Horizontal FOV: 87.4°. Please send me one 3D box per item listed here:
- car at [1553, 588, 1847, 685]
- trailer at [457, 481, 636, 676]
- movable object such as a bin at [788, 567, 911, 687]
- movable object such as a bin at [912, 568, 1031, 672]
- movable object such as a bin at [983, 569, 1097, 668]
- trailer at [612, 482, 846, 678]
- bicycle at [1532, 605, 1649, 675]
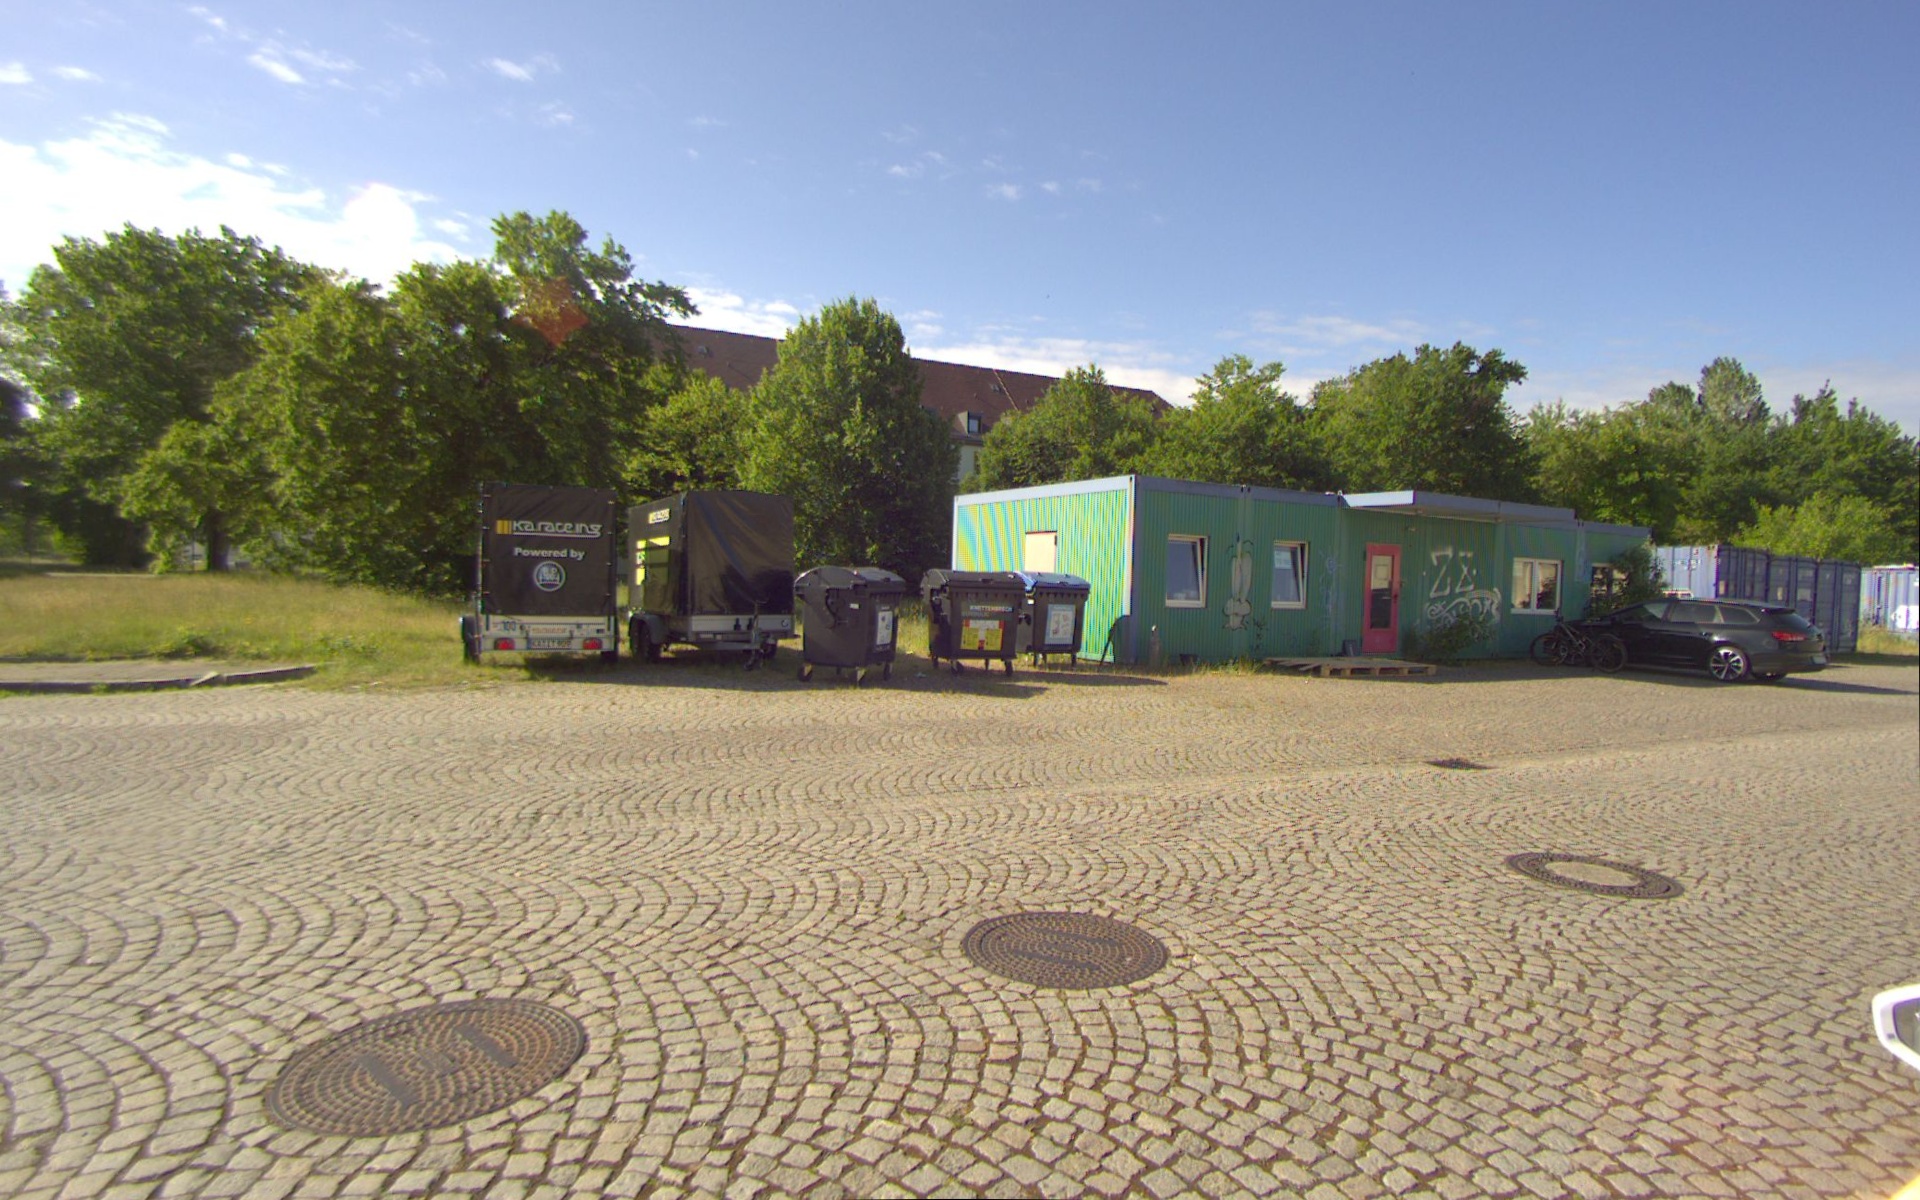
[{"bbox_3d":[13.625,0.599,18.748,1.712,1.432,4.027,1,3,-32],"label":"car"},{"bbox_3d":[-6.003,-0.351,14.305,1.988,2.303,4.437,1,3,-26],"label":"trailer"},{"bbox_3d":[-1.383,0.312,12.838,1.027,1.404,1.364,2,2,21],"label":"movable object such as a bin"},{"bbox_3d":[0.150,0.270,14.292,1.349,1.404,1.078,1,2,-23],"label":"movable object such as a bin"},{"bbox_3d":[1.261,0.271,15.761,1.397,1.456,1.076,1,2,-39],"label":"movable object such as a bin"},{"bbox_3d":[-3.629,-0.350,14.963,1.921,2.423,4.812,1,3,-32],"label":"trailer"},{"bbox_3d":[11.721,0.723,18.742,0.665,1.116,1.702,1,3,-26],"label":"bicycle"}]
